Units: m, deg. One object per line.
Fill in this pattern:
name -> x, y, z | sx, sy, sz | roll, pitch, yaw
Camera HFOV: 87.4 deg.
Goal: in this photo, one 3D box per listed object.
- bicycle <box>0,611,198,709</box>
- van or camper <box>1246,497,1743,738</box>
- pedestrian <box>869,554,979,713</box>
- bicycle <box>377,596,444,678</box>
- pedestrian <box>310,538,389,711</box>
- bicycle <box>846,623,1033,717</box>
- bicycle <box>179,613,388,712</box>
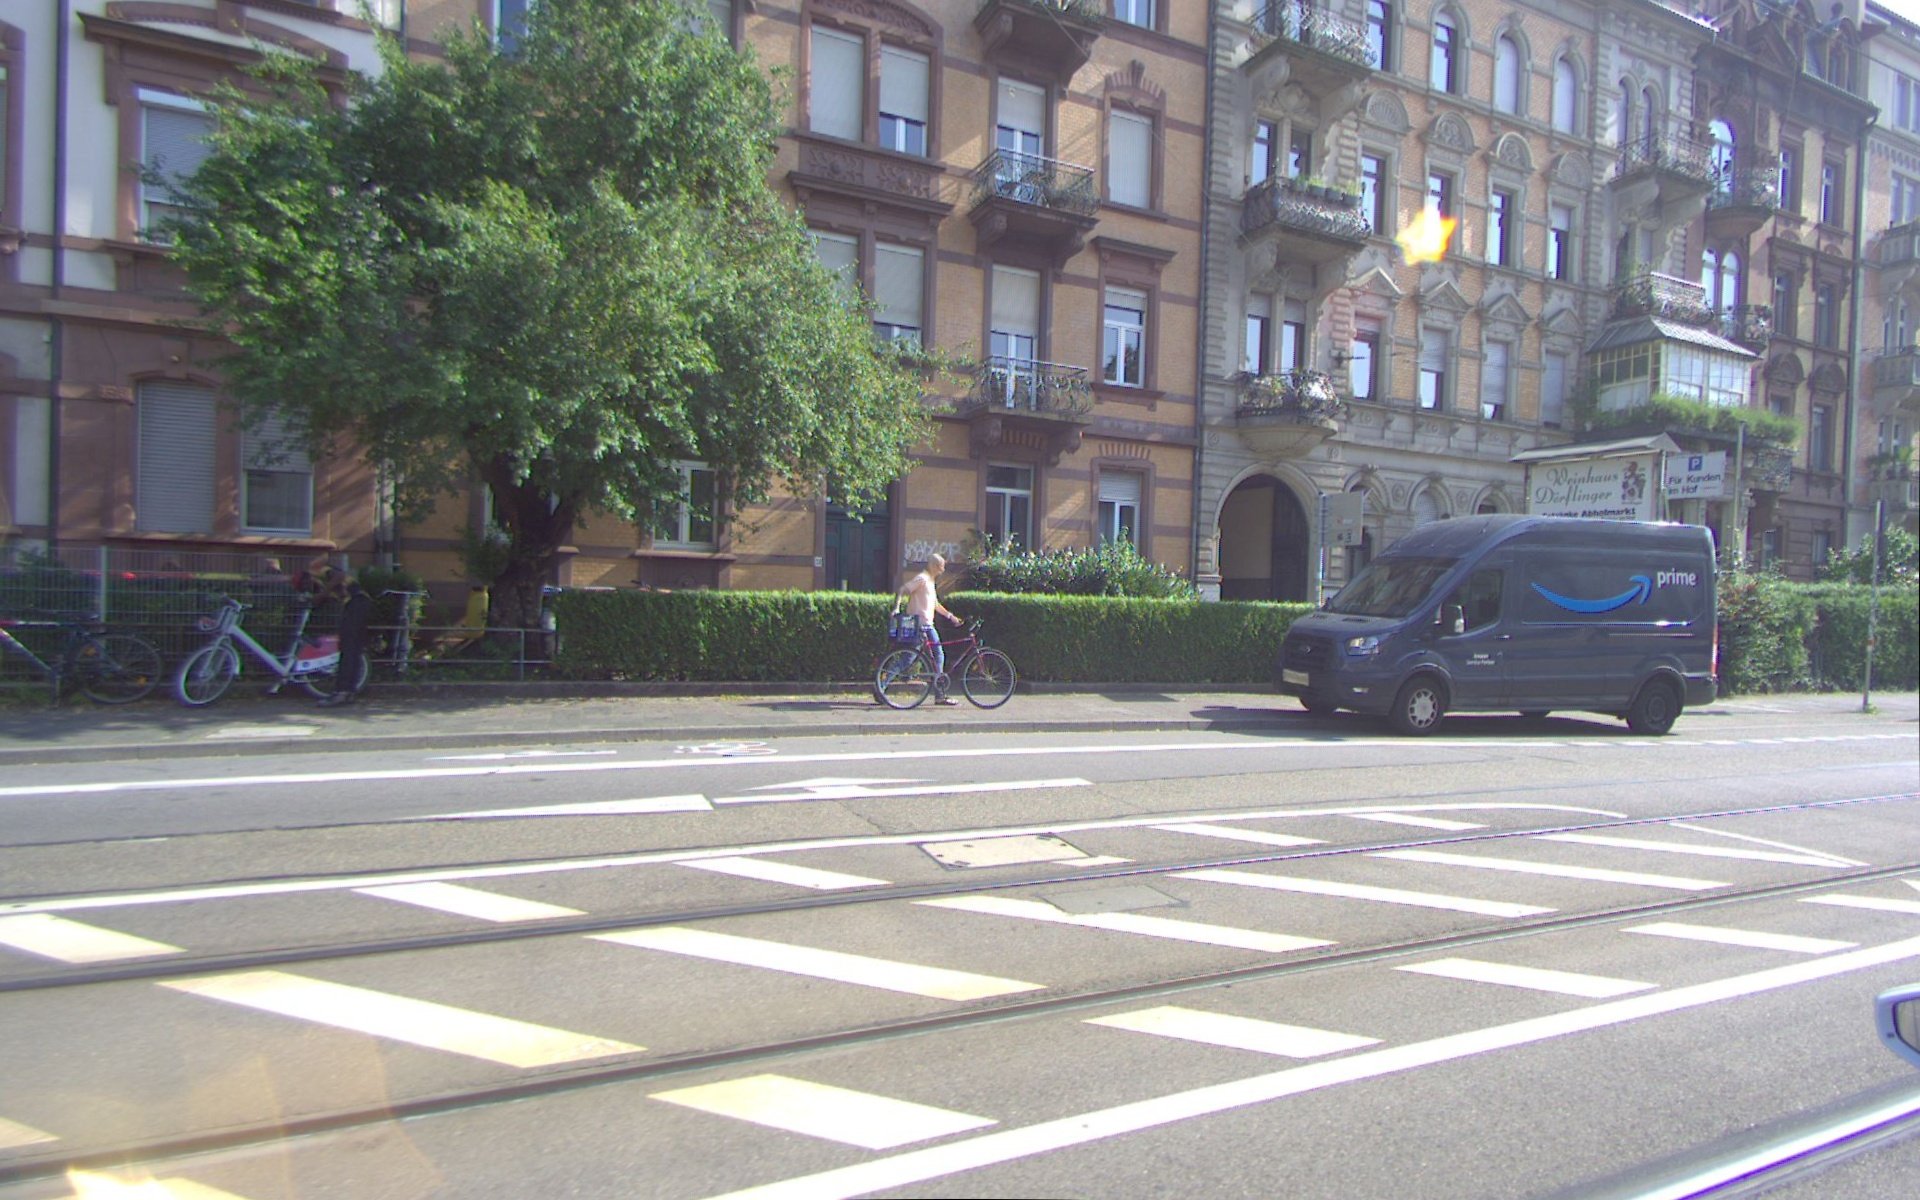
bicycle -> -8.373, 0.562, 9.574 | 1.677, 0.871, 0.525 | 1, 1, -22
van or camper -> 6.930, 0.299, 13.053 | 5.993, 2.679, 2.049 | 2, 0, -18
pedestrian -> -0.440, 0.387, 12.134 | 1.078, 1.830, 0.725 | 1, 1, -26
bicycle -> -6.464, 0.405, 11.867 | 0.520, 0.871, 1.692 | 1, 1, -23
pedestrian -> -6.276, 0.241, 10.318 | 0.627, 1.701, 0.632 | 1, 1, -36
bicycle -> -0.226, 0.807, 11.840 | 2.121, 1.020, 0.616 | 1, 1, -25
bicycle -> -6.846, 0.621, 10.249 | 1.677, 0.940, 0.525 | 1, 1, -22
